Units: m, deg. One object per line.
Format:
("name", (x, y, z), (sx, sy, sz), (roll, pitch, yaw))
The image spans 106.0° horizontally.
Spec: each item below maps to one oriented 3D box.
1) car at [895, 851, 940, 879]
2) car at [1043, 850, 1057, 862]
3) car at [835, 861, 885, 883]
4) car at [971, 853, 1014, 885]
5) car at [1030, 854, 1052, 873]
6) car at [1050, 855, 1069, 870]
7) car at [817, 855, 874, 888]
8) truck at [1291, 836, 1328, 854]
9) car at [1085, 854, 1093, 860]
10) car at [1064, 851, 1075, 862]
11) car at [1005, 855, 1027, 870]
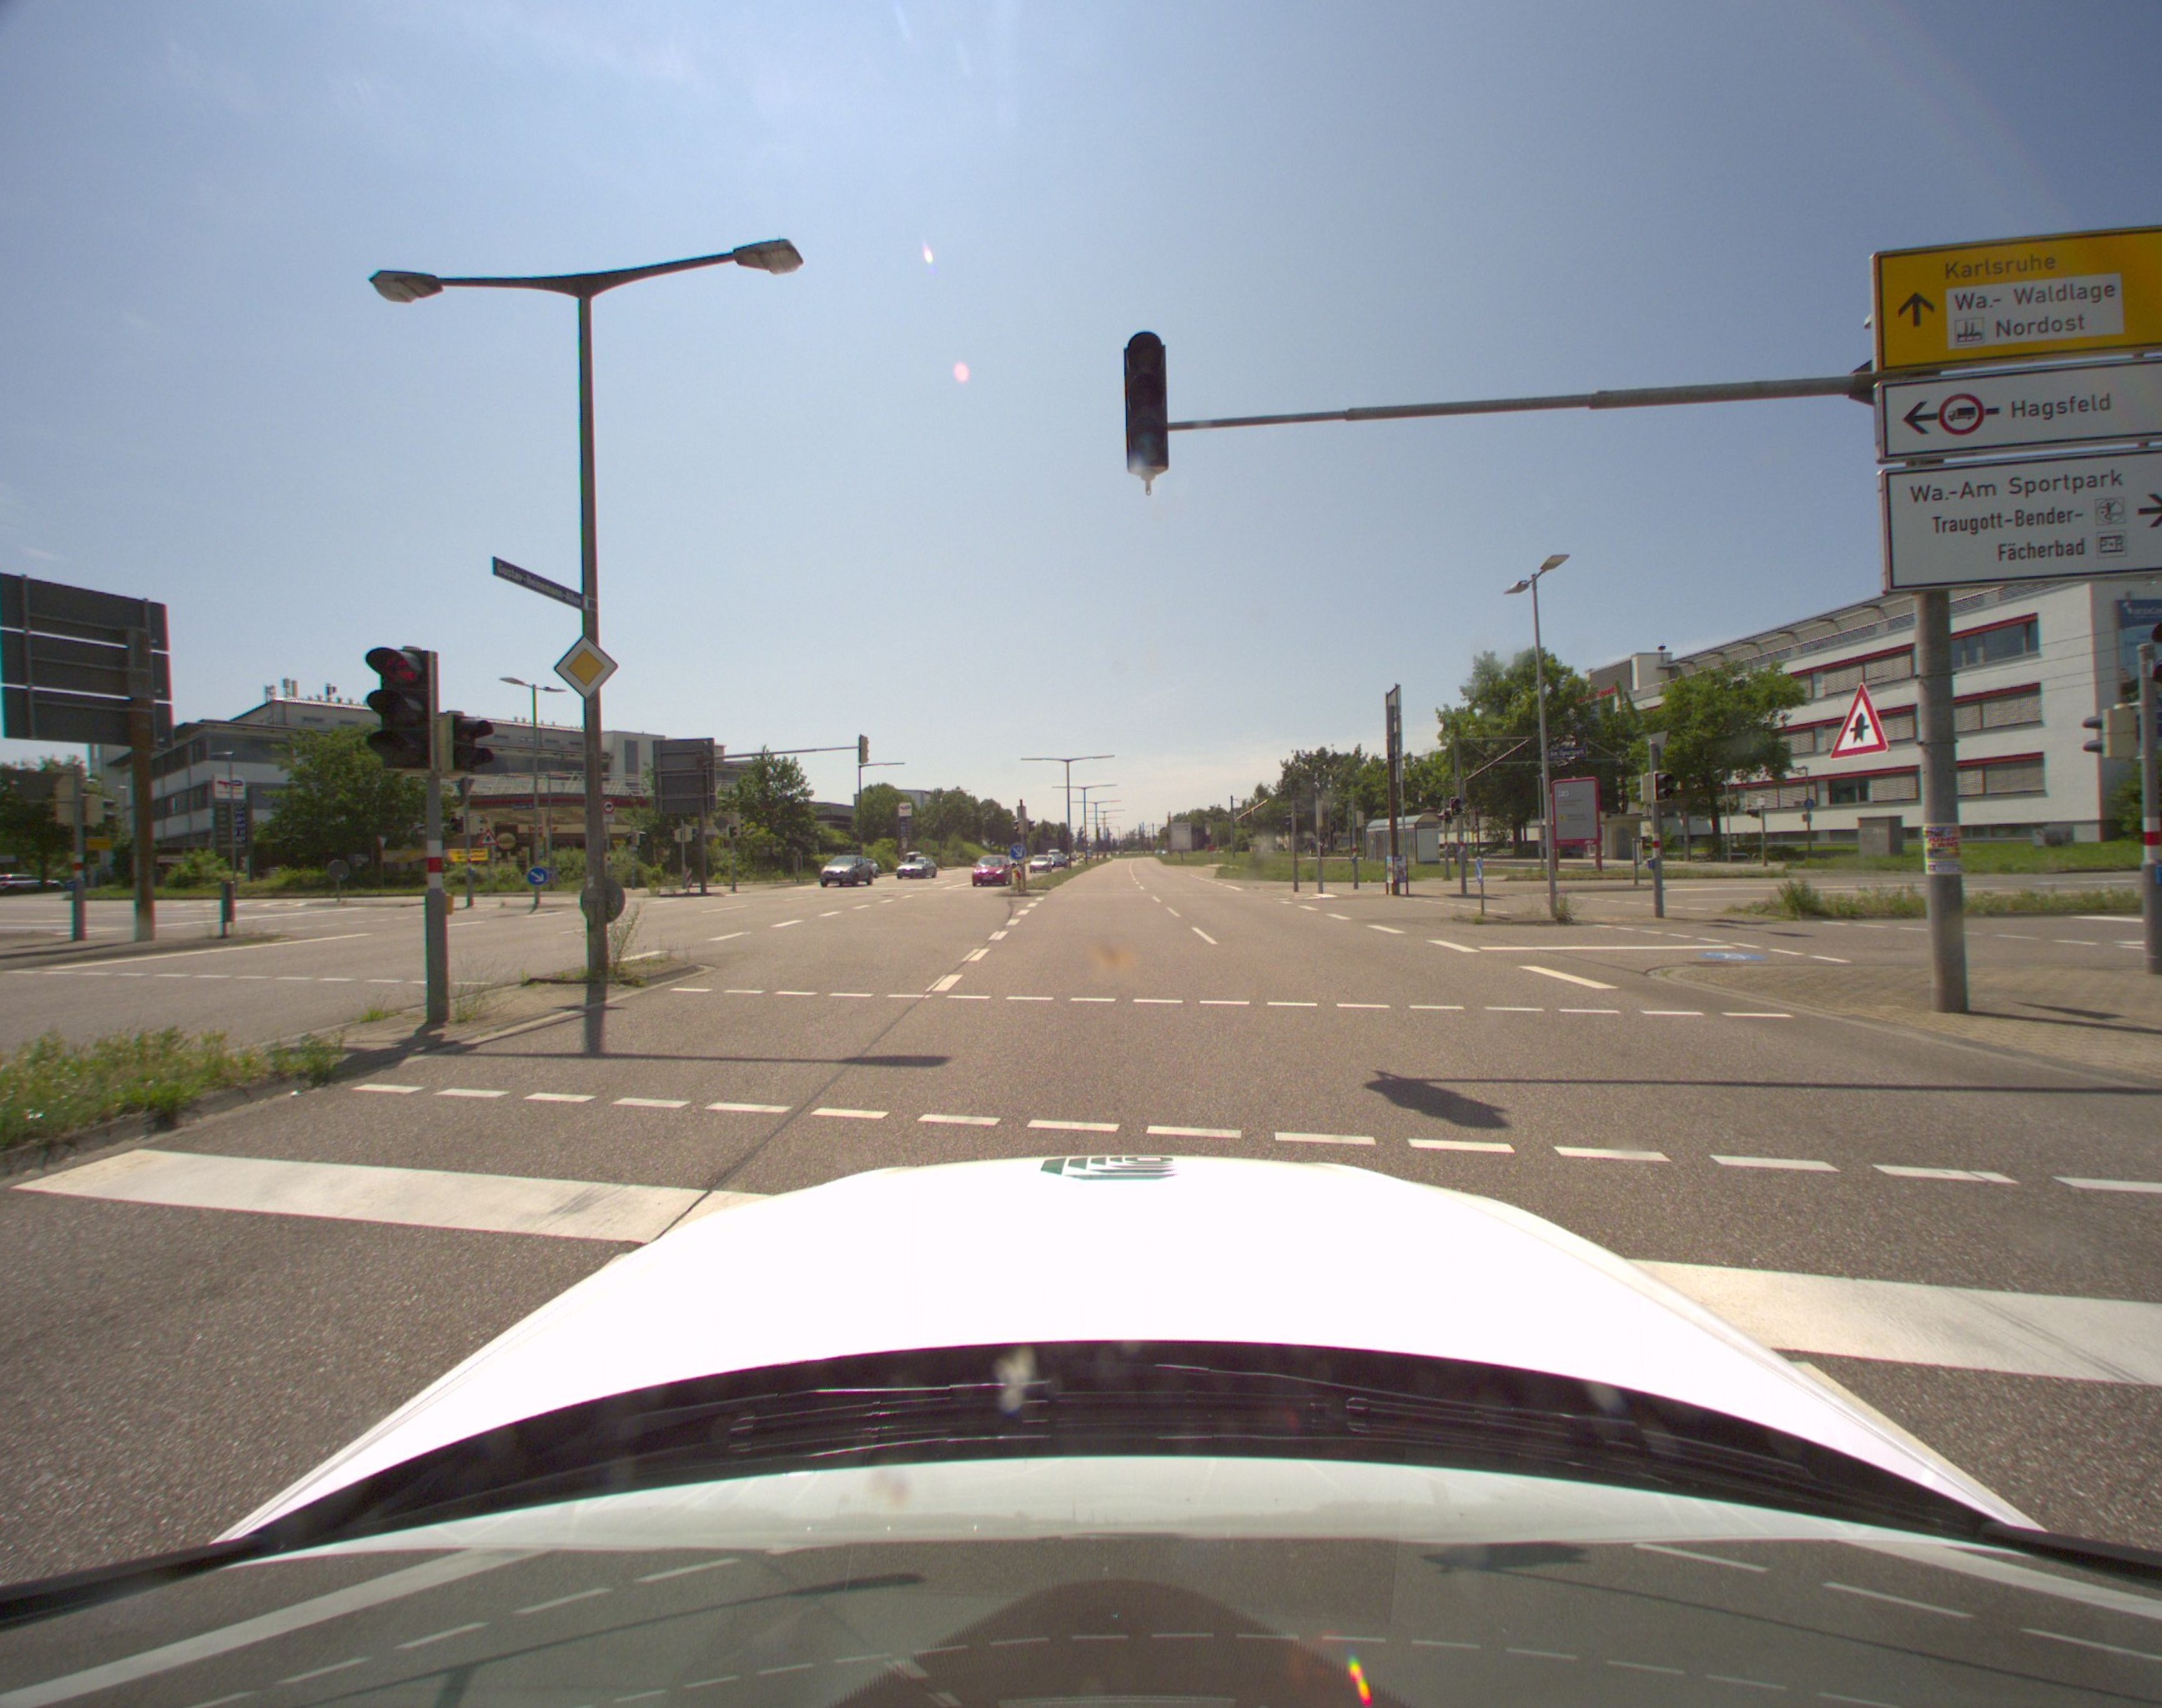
("car", (-11.034, 0.680, 55.283), (1.958, 1.750, 5.023), (-2, 0, 1))
("car", (-5.794, 0.408, 152.681), (2.240, 2.273, 5.453), (0, 0, 3))
("car", (-15.474, 1.261, 57.243), (1.811, 1.449, 3.839), (-2, -1, 11))
("car", (-4.429, 0.730, 41.334), (1.652, 1.490, 4.001), (-2, 0, 1))
("car", (-3.289, 0.766, 67.742), (1.555, 1.423, 3.855), (-1, 1, 1))
("car", (-2.172, 0.848, 82.644), (1.669, 1.434, 4.192), (-1, 0, 2))
("car", (-11.998, 0.855, 41.741), (1.652, 1.539, 4.001), (-2, 0, 1))
("truck", (41.155, -1.548, 146.878), (5.831, 2.843, 2.316), (-3, -1, -5))
("car", (2.177, 0.783, 218.187), (1.723, 1.458, 4.570), (-2, 0, 4))
("car", (-2.194, 0.420, 149.776), (1.988, 2.014, 3.997), (0, -1, -1))
("car", (-6.330, 0.815, 79.904), (1.631, 1.429, 4.054), (-2, 0, 2))
